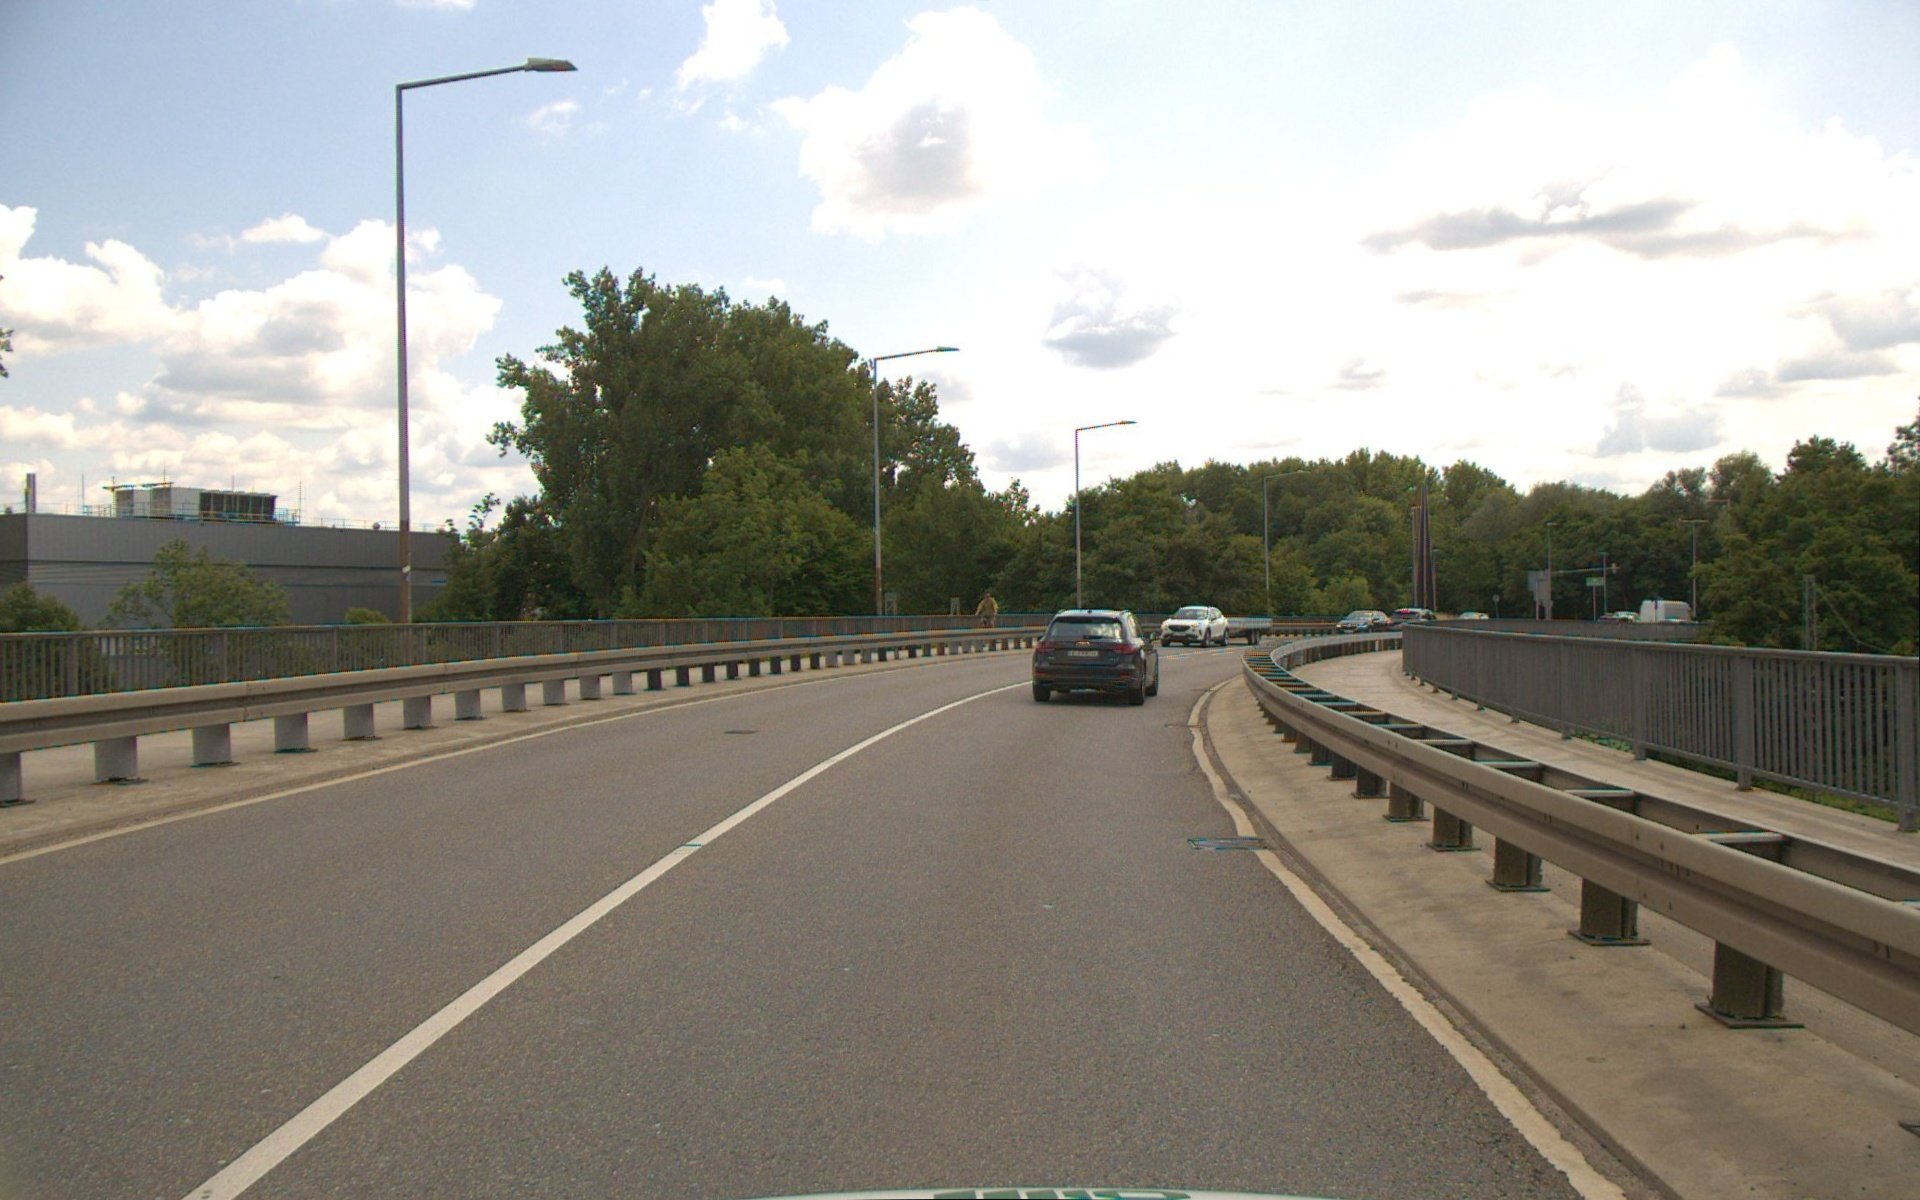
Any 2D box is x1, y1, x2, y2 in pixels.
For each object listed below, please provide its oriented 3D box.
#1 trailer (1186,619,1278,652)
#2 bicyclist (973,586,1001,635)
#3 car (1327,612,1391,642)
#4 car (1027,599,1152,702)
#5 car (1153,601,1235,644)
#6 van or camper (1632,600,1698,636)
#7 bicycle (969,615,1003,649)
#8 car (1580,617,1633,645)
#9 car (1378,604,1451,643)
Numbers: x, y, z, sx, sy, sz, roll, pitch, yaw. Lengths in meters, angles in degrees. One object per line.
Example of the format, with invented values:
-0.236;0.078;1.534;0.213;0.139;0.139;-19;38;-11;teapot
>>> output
11.260;1.430;68.160;2.006;1.230;5.975;1;0;27;trailer
0.908;0.345;55.044;0.750;1.630;0.948;0;-1;12;bicyclist
21.093;1.386;87.322;1.785;1.476;4.723;1;1;33;car
2.213;0.810;27.203;1.789;1.518;4.209;1;-1;8;car
9.028;0.855;63.508;1.771;1.562;4.343;1;0;27;car
49.537;1.267;116.202;5.193;2.381;2.246;2;0;-41;van or camper
0.873;1.057;54.914;0.752;1.114;2.117;0;-1;12;bicycle
40.056;1.902;102.395;1.710;1.680;3.829;1;0;44;car
20.805;1.060;75.689;1.793;1.680;3.836;2;0;39;car
